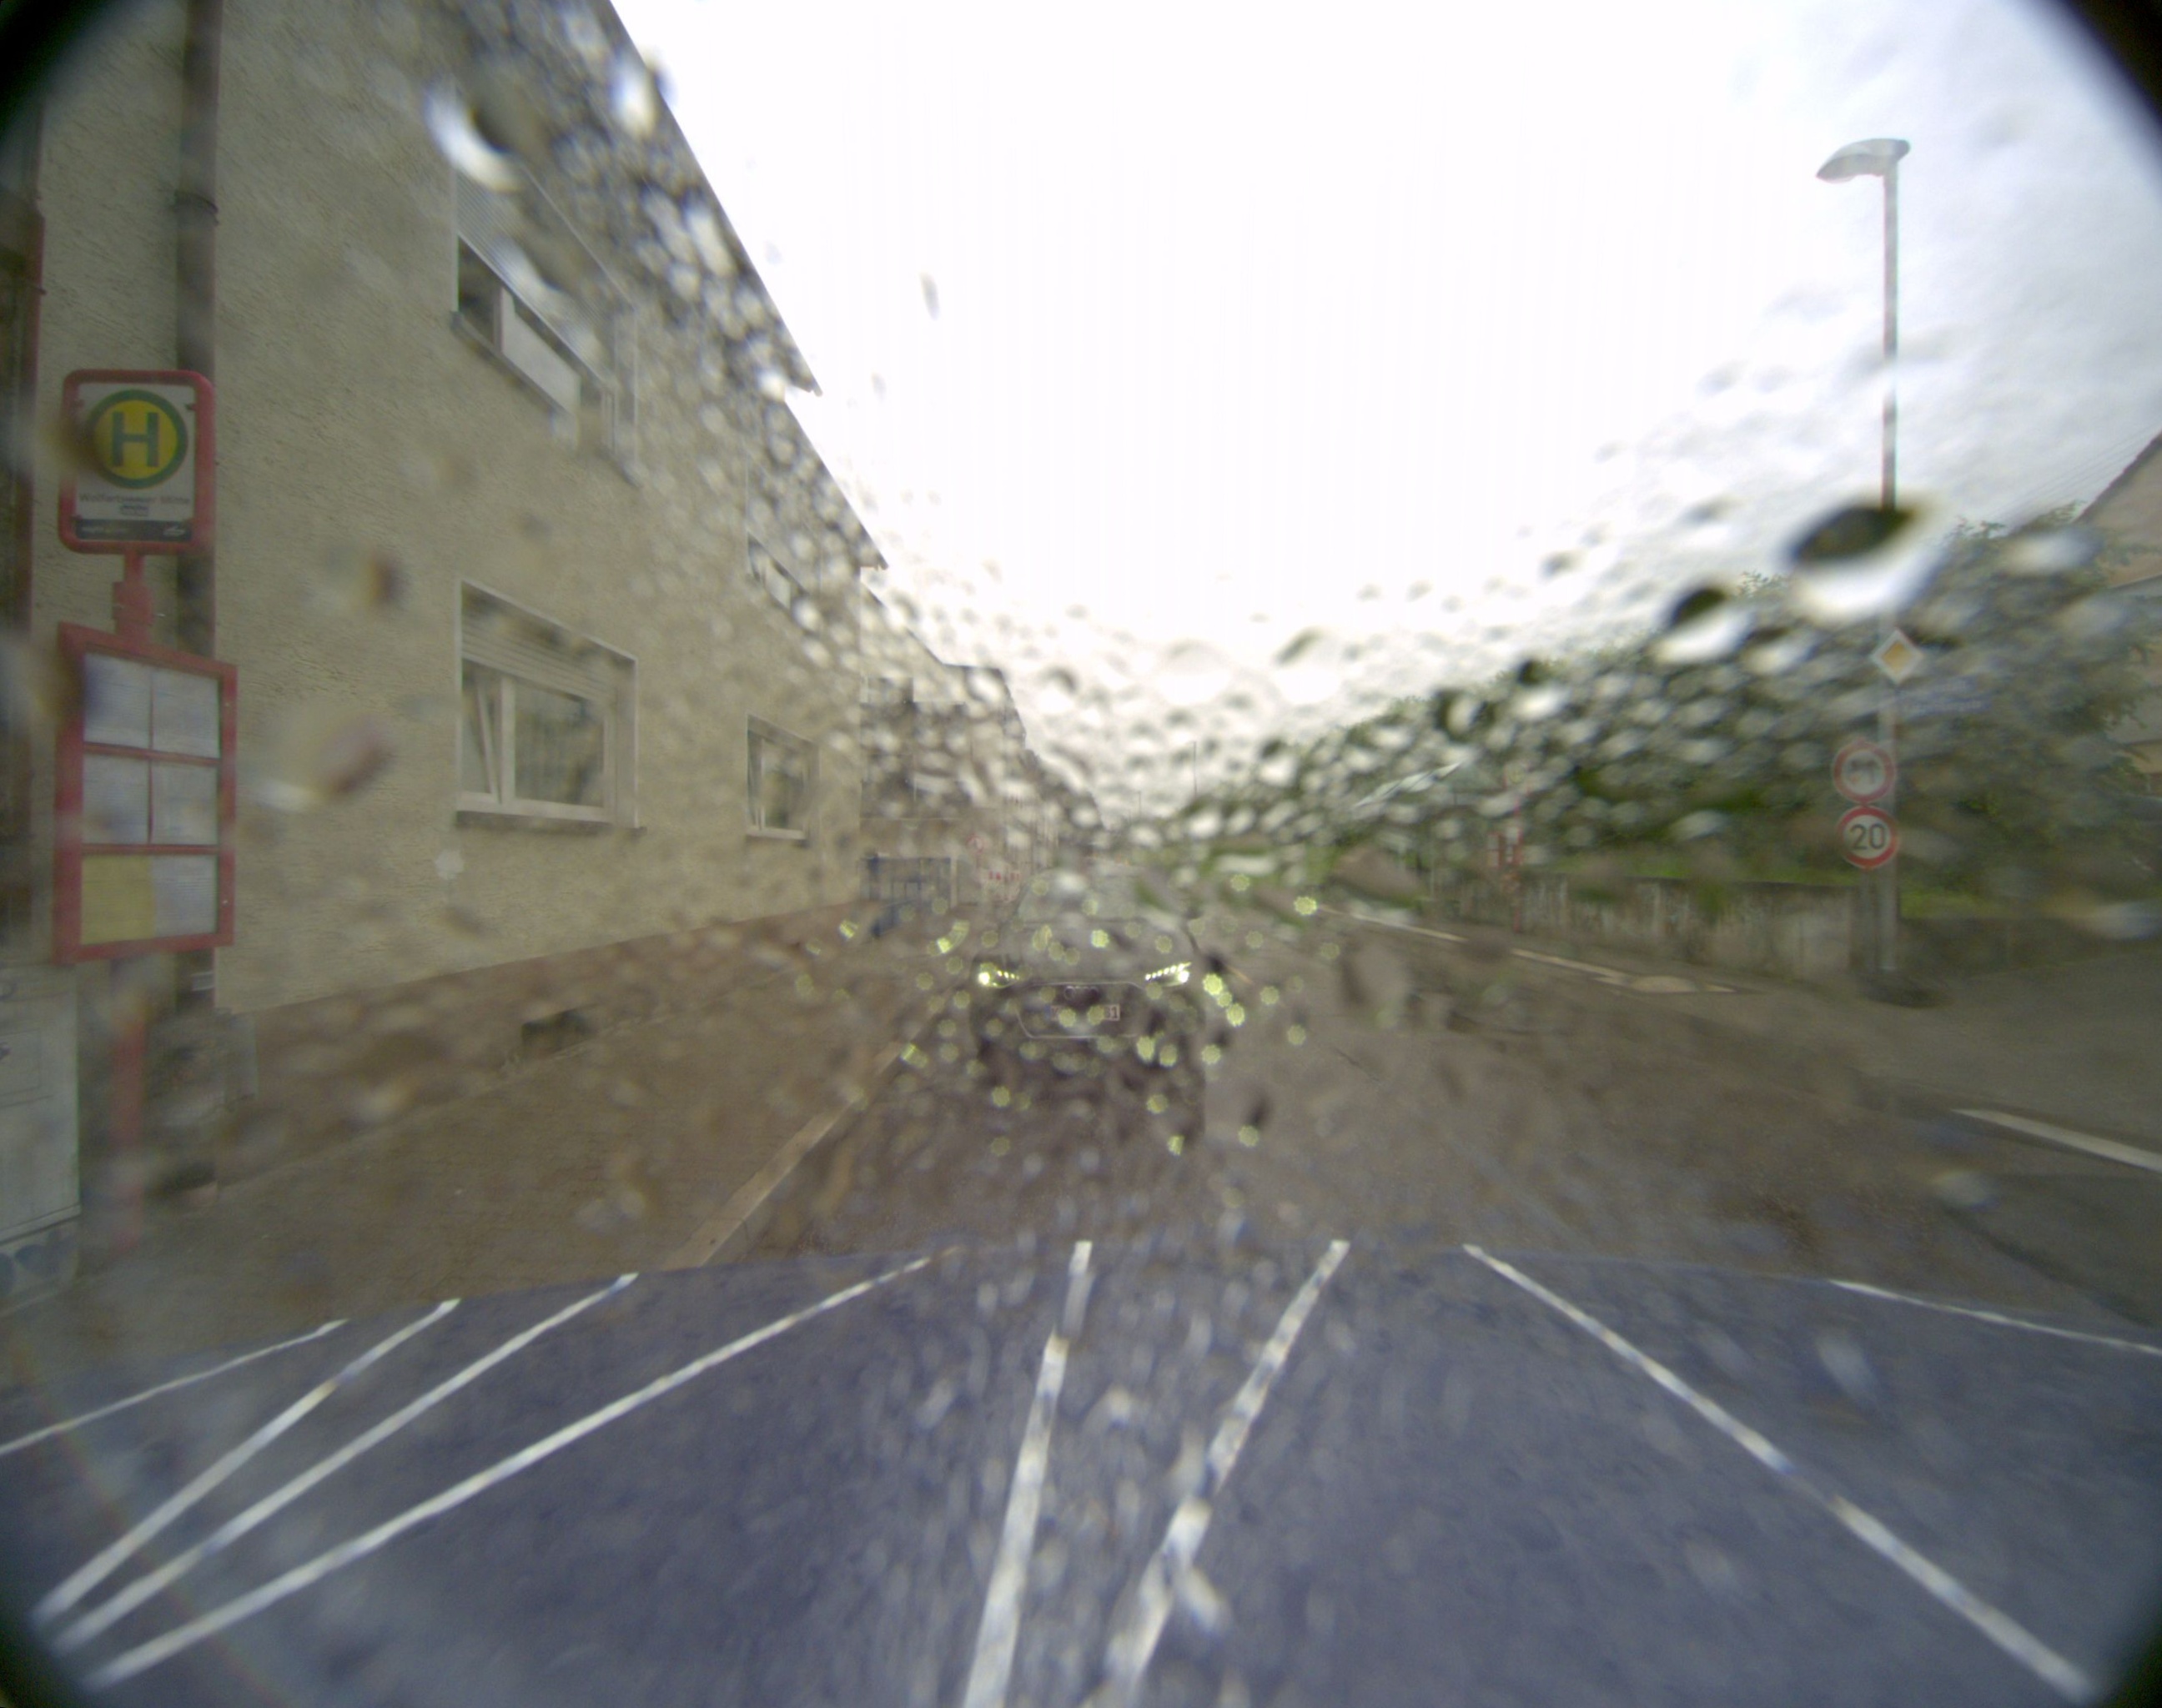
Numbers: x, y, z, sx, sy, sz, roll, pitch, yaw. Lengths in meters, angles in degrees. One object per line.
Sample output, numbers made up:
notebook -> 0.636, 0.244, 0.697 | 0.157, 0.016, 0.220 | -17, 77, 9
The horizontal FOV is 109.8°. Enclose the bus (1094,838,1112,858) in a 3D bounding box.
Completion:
bus -> 3.450, -1.044, 122.155 | 2.685, 2.987, 14.544 | 1, 1, 1

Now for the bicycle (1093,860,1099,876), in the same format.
bicycle -> 1.002, 0.915, 50.665 | 0.407, 1.023, 1.221 | 1, 1, 2

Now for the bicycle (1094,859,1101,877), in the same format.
bicycle -> 1.062, 0.891, 48.429 | 0.407, 1.137, 1.221 | 1, 1, 2

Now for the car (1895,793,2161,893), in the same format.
car -> 15.875, -0.243, 11.864 | 1.749, 1.382, 4.220 | -1, 3, 0

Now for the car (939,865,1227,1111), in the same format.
car -> 0.038, 0.906, 7.214 | 1.851, 1.444, 4.531 | 1, 1, 1
